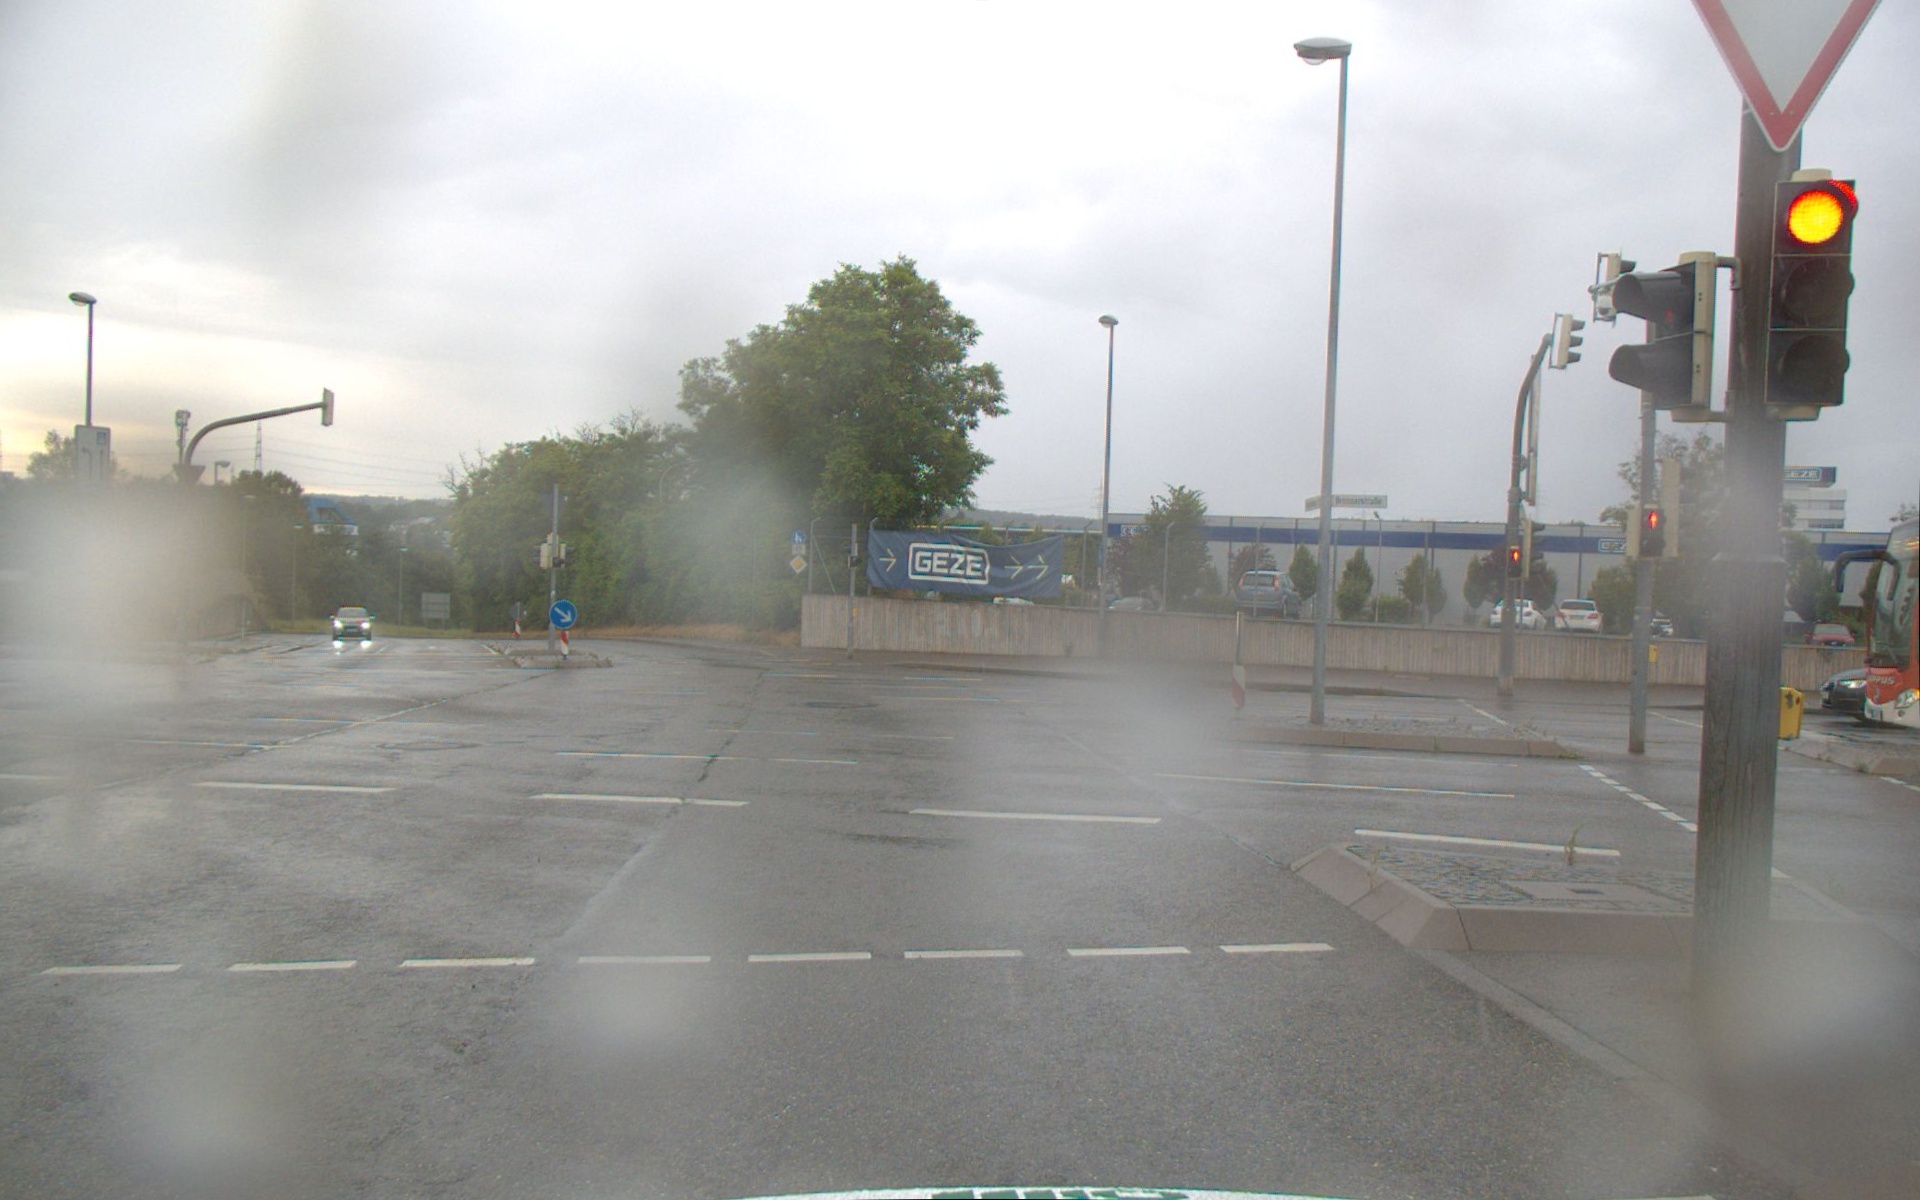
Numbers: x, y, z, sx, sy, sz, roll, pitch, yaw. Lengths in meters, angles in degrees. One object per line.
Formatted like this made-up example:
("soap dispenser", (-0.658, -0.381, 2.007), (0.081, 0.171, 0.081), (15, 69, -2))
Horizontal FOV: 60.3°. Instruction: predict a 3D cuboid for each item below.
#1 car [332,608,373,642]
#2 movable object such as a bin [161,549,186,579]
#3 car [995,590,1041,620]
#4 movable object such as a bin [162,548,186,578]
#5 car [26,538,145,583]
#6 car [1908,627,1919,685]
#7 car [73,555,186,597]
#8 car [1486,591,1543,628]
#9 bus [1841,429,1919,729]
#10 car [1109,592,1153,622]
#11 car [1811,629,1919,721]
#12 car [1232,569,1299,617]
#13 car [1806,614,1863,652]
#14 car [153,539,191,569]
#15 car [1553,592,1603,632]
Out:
("car", (-28.396, 1.168, 77.247), (1.638, 1.521, 3.973), (1, -1, -22))
("movable object such as a bin", (-41.595, -1.905, 87.455), (1.071, 1.462, 1.434), (3, -2, -27))
("car", (3.377, 0.300, 95.924), (1.632, 1.634, 3.531), (1, 0, 20))
("movable object such as a bin", (-40.939, -1.898, 86.147), (1.071, 1.462, 1.434), (3, -2, -27))
("car", (-35.827, -1.613, 67.807), (3.902, 1.614, 1.903), (1, -2, 8))
("car", (34.778, 1.988, 58.335), (1.707, 2.049, 3.824), (1, 0, 20))
("car", (-35.208, -1.019, 70.148), (3.902, 1.614, 1.903), (1, -2, 12))
("car", (23.057, 0.411, 68.672), (1.781, 1.459, 4.100), (1, 0, 25))
("bus", (17.639, 0.063, 19.822), (11.995, 3.638, 2.988), (3, 0, 17))
("car", (9.612, 0.392, 92.716), (1.632, 1.634, 3.531), (1, 0, 20))
("car", (16.296, 1.241, 26.652), (4.286, 1.378, 1.827), (2, 0, 16))
("car", (10.670, -0.219, 57.576), (1.707, 1.580, 3.531), (1, 0, 20))
("car", (39.195, 1.458, 74.189), (1.883, 1.616, 3.788), (1, 0, 22))
("car", (-45.058, -2.611, 94.590), (1.806, 1.467, 3.964), (3, -2, -27))
("car", (25.472, 0.496, 68.078), (1.820, 1.552, 4.103), (1, 0, 22))
